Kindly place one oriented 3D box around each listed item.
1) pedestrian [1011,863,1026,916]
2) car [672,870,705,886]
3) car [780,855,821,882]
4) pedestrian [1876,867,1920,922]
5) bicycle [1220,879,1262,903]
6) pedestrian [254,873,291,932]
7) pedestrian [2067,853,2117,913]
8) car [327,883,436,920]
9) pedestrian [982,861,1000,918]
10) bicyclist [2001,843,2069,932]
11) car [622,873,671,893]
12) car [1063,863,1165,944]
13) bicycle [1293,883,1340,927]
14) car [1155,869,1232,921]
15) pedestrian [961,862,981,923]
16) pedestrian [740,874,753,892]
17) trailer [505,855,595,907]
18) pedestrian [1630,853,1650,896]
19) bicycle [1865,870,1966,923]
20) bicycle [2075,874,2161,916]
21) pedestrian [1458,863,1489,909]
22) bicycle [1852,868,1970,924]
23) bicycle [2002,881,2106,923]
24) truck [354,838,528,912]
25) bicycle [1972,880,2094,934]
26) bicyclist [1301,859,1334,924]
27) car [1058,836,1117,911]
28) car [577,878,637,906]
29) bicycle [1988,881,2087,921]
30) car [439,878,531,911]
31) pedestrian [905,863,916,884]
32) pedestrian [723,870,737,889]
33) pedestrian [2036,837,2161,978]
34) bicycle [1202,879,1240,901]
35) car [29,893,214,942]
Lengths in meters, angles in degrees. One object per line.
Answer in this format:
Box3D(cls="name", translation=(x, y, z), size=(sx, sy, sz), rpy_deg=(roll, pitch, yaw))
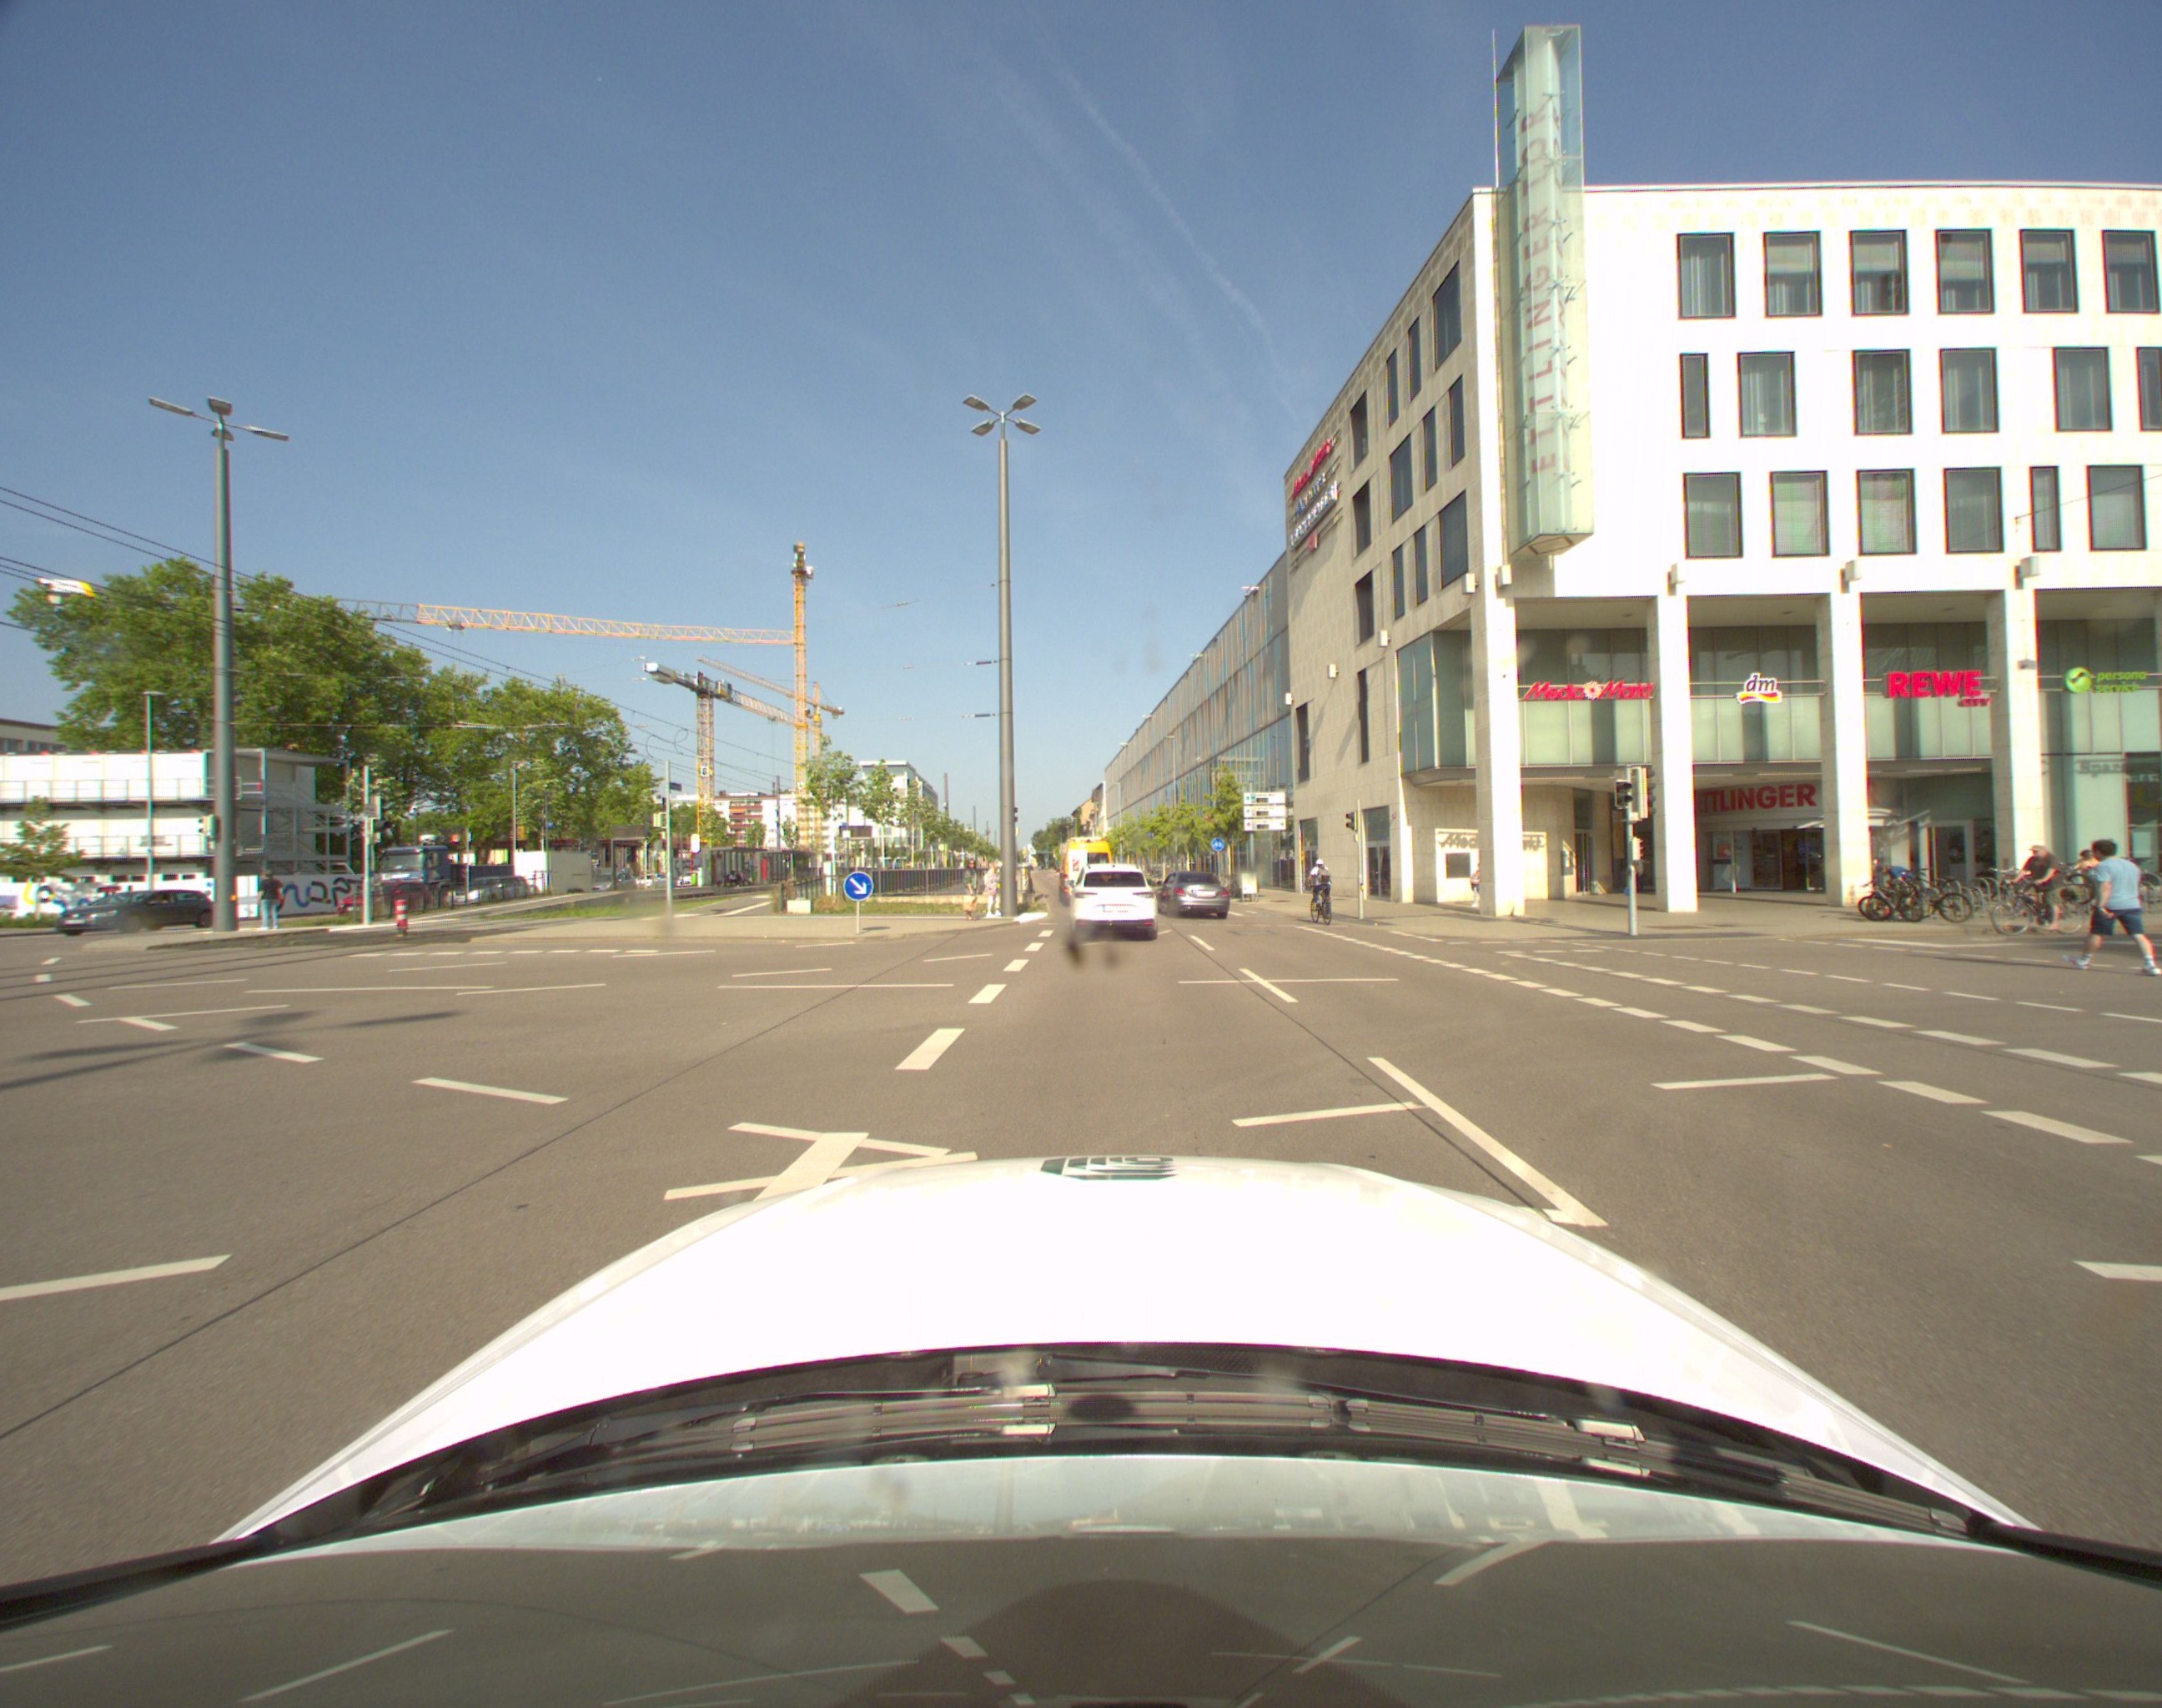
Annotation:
Box3D(cls="pedestrian", translation=(-1.953, 1.100, 25.501), size=(0.466, 1.650, 0.776), rpy_deg=(0, -1, -4))
Box3D(cls="car", translation=(-37.118, 2.268, 77.105), size=(1.593, 1.463, 3.429), rpy_deg=(-1, -1, -3))
Box3D(cls="car", translation=(-38.527, 2.043, 112.155), size=(3.048, 3.513, 9.218), rpy_deg=(0, -1, -4))
Box3D(cls="pedestrian", translation=(20.538, 1.003, 20.476), size=(0.511, 1.356, 0.546), rpy_deg=(-1, -1, -10))
Box3D(cls="bicycle", translation=(7.566, 1.732, 38.467), size=(1.834, 1.113, 0.686), rpy_deg=(1, -1, -2))
Box3D(cls="pedestrian", translation=(-23.297, 1.380, 23.468), size=(0.368, 1.676, 0.642), rpy_deg=(-1, -1, 13))
Box3D(cls="pedestrian", translation=(26.019, 0.737, 20.966), size=(0.605, 1.485, 0.731), rpy_deg=(0, -2, -34))
Box3D(cls="car", translation=(-29.364, 1.965, 34.324), size=(1.719, 1.361, 3.688), rpy_deg=(0, -1, -8))
Box3D(cls="pedestrian", translation=(-2.678, 1.041, 24.258), size=(0.466, 1.650, 0.776), rpy_deg=(0, -1, -4))
Box3D(cls="bicyclist", translation=(18.997, 0.663, 16.226), size=(0.633, 1.738, 0.581), rpy_deg=(-1, -1, -4))
Box3D(cls="car", translation=(-36.192, 2.400, 67.963), size=(1.788, 1.582, 4.611), rpy_deg=(-1, -1, -3))
Box3D(cls="car", translation=(0.612, 1.006, 18.075), size=(1.866, 1.575, 3.994), rpy_deg=(-1, -1, -4))
Box3D(cls="bicycle", translation=(6.534, 1.388, 22.708), size=(0.659, 1.117, 2.050), rpy_deg=(-1, -1, -1))
Box3D(cls="car", translation=(3.415, 1.215, 25.390), size=(1.755, 1.436, 4.112), rpy_deg=(1, -1, -1))
Box3D(cls="pedestrian", translation=(-2.996, 1.033, 22.162), size=(0.466, 1.650, 0.776), rpy_deg=(0, -1, -4))
Box3D(cls="pedestrian", translation=(-24.458, 2.105, 59.564), size=(0.680, 1.300, 0.591), rpy_deg=(-1, -1, -8))
Box3D(cls="trailer", translation=(-30.306, 1.506, 46.668), size=(2.041, 2.781, 5.013), rpy_deg=(1, -1, -4))
Box3D(cls="pedestrian", translation=(22.218, 0.802, 32.360), size=(0.457, 1.678, 0.500), rpy_deg=(0, -1, -39))
Box3D(cls="bicycle", translation=(20.186, 0.999, 19.753), size=(0.499, 1.199, 1.790), rpy_deg=(-1, -1, -5))
Box3D(cls="bicycle", translation=(25.587, 0.981, 19.970), size=(0.456, 0.956, 1.672), rpy_deg=(-1, -1, 6))
Box3D(cls="pedestrian", translation=(13.069, 1.051, 27.117), size=(0.705, 1.487, 0.604), rpy_deg=(-1, -1, -2))
Box3D(cls="bicycle", translation=(19.522, 0.968, 19.234), size=(0.611, 1.237, 2.068), rpy_deg=(-1, -1, -2))
Box3D(cls="bicycle", translation=(23.864, 1.159, 20.020), size=(0.456, 0.956, 1.858), rpy_deg=(-1, -1, 6))
Box3D(cls="truck", translation=(-34.474, 1.095, 44.490), size=(3.016, 3.586, 8.875), rpy_deg=(-1, -1, -5))
Box3D(cls="bicycle", translation=(18.927, 1.038, 16.211), size=(1.798, 1.017, 0.611), rpy_deg=(-1, -1, -4))
Box3D(cls="bicyclist", translation=(6.529, 1.016, 22.514), size=(0.649, 1.749, 0.769), rpy_deg=(-1, -1, -1))
Box3D(cls="car", translation=(0.163, 0.740, 33.164), size=(2.016, 2.796, 5.393), rpy_deg=(-1, 0, -4))
Box3D(cls="car", translation=(-30.890, 2.440, 53.194), size=(1.717, 1.662, 4.145), rpy_deg=(0, -1, -3))
Box3D(cls="bicycle", translation=(24.463, 1.187, 20.881), size=(0.456, 0.956, 1.858), rpy_deg=(-1, -1, 6))
Box3D(cls="car", translation=(-29.609, 1.984, 40.656), size=(1.640, 1.469, 4.395), rpy_deg=(-1, -1, -5))
Box3D(cls="pedestrian", translation=(-13.245, 1.507, 63.334), size=(0.734, 1.619, 0.709), rpy_deg=(-1, -1, -5))
Box3D(cls="pedestrian", translation=(-24.338, 1.781, 56.479), size=(0.680, 1.300, 0.591), rpy_deg=(-1, -1, -8))
Box3D(cls="pedestrian", translation=(13.153, 0.655, 10.439), size=(0.640, 1.711, 0.991), rpy_deg=(-1, -1, 4))
Box3D(cls="bicycle", translation=(7.339, 1.885, 42.631), size=(1.873, 1.109, 0.490), rpy_deg=(-1, -1, -2))
Box3D(cls="car", translation=(-32.262, 2.075, 27.601), size=(1.596, 1.347, 4.408), rpy_deg=(-1, -1, -10))
